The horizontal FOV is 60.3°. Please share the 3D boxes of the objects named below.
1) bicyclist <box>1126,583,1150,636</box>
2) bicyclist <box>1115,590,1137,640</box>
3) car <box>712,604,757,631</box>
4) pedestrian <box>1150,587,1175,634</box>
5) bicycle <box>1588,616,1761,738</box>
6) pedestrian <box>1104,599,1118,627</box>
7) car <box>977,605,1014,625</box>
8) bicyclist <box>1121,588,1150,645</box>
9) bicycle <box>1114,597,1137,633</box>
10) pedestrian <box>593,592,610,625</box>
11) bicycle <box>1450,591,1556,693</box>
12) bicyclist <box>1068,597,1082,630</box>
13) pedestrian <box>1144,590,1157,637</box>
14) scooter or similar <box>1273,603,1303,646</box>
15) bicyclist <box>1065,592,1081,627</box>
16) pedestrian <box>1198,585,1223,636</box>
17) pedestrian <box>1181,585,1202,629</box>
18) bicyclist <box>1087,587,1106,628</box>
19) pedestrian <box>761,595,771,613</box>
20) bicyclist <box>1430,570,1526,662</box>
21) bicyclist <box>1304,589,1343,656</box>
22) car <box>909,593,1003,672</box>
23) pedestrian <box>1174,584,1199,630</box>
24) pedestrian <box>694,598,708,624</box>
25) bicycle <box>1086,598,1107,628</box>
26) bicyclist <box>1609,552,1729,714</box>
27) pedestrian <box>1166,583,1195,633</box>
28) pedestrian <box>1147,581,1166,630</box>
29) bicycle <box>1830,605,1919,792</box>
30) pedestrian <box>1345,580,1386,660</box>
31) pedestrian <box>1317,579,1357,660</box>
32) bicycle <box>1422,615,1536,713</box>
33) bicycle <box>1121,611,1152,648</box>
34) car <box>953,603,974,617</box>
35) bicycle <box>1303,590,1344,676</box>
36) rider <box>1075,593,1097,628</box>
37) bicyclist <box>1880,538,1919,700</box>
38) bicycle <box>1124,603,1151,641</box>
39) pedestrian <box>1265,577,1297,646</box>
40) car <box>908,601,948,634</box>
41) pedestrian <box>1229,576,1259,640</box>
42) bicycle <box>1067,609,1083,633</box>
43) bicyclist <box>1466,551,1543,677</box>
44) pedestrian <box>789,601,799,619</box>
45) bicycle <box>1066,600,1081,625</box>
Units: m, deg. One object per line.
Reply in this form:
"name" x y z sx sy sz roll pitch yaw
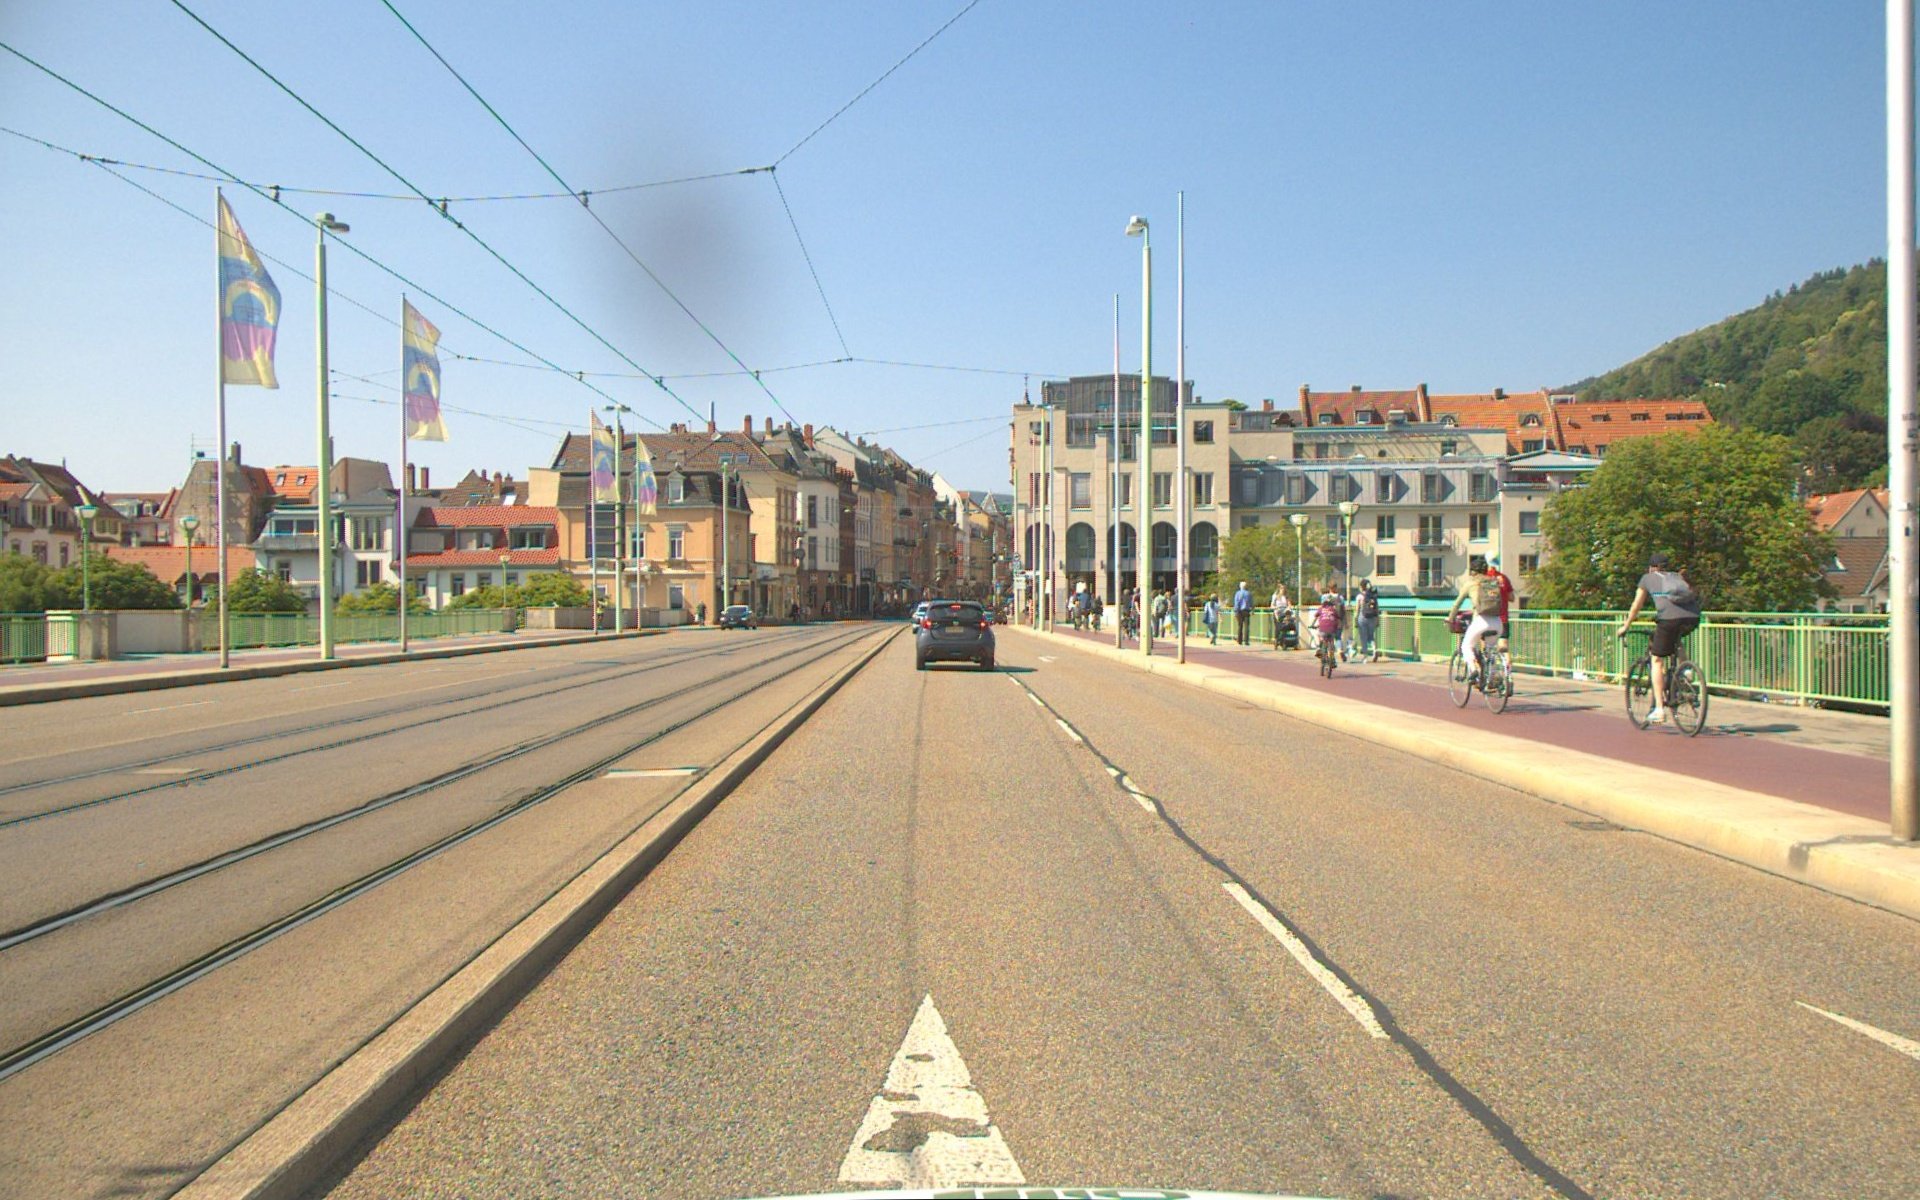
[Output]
"bicyclist" 5.823 0.304 54.074 0.643 1.705 0.868 0 0 -3
"bicyclist" 5.789 0.530 57.719 0.615 1.719 0.868 0 0 -3
"car" -13.674 1.048 100.490 1.952 1.505 4.002 0 0 3
"pedestrian" 7.447 0.365 60.878 0.817 1.719 0.869 0 0 -1
"bicycle" 6.888 0.707 16.079 0.606 1.055 2.265 0 0 -3
"pedestrian" 8.105 0.704 88.822 0.643 1.476 0.643 0 0 -7
"car" 2.909 1.209 135.479 1.766 1.494 4.001 -2 0 20
"bicyclist" 5.027 0.465 47.342 0.640 1.594 1.337 -2 0 0
"bicycle" 5.765 0.506 57.744 0.515 1.199 2.028 0 0 -2
"pedestrian" -19.425 0.462 89.570 0.747 1.818 0.663 0 0 1
"bicycle" 7.329 0.537 22.434 0.606 1.293 2.215 -1 0 -3
"bicyclist" 5.461 0.626 78.828 0.638 1.556 0.975 0 0 2
"pedestrian" 7.385 0.529 64.135 0.360 1.826 0.604 2 0 -1
"scooter or similar" 8.473 0.636 42.721 0.577 1.088 0.865 0 0 -3
"bicyclist" 5.610 0.471 82.004 0.779 1.705 0.869 0 0 2
"pedestrian" 7.476 0.300 49.386 0.601 1.491 0.848 0 0 -1
"pedestrian" 8.755 0.263 62.641 0.698 1.680 0.848 0 0 1
"bicyclist" 5.759 0.320 69.776 0.701 1.705 0.868 0 0 -3
"pedestrian" -15.784 0.300 134.596 0.747 1.422 0.663 0 0 1
"bicyclist" 6.069 0.179 19.424 0.720 1.048 1.175 0 0 -3
"bicyclist" 6.148 0.369 27.998 0.586 1.121 0.853 0 0 9
"car" -0.141 0.683 37.046 1.872 1.567 3.998 1 1 -4
"pedestrian" 8.712 0.264 63.524 0.817 1.719 0.869 0 0 -1
"pedestrian" -16.913 0.690 107.994 0.747 1.694 0.663 0 0 1
"bicycle" 5.760 0.541 69.820 0.653 1.199 2.028 0 0 -2
"bicyclist" 6.867 0.305 16.062 0.720 1.527 0.980 0 0 -3
"pedestrian" 7.907 0.289 59.318 0.911 1.792 0.937 0 0 -1
"pedestrian" 7.418 0.206 62.413 0.517 1.778 0.728 -3 0 -1
"bicycle" 6.627 0.646 10.776 0.681 1.214 2.077 -1 0 -4
"pedestrian" 8.268 0.401 33.721 0.587 1.614 0.866 0 0 -3
"pedestrian" 7.671 0.390 33.685 0.587 1.614 0.866 0 0 -3
"bicycle" 6.077 0.722 19.484 0.606 1.055 2.050 0 0 -3
"bicycle" 5.039 0.841 47.403 0.640 0.998 2.178 -2 0 0
"car" 0.370 1.006 167.795 1.838 1.433 4.002 0 0 4
"bicycle" 6.152 0.530 28.024 0.523 1.391 2.218 0 0 8
"rider" 5.614 0.454 73.864 0.871 1.531 0.840 0 0 -3
"bicyclist" 6.620 0.122 10.788 0.653 1.063 0.979 0 0 -5
"bicycle" 5.805 0.710 54.144 0.581 1.199 1.939 0 0 -2
"pedestrian" 8.448 0.299 43.596 0.629 1.787 0.866 0 0 -3
"car" -1.626 0.857 82.529 1.768 1.494 3.997 -2 0 -4
"pedestrian" 8.288 0.220 48.277 0.698 1.842 0.848 0 0 -1
"bicycle" 5.467 0.982 78.651 0.652 1.068 2.029 0 0 2
"bicyclist" 7.338 0.186 22.333 0.720 1.664 0.866 0 0 -3
"pedestrian" -13.343 0.831 133.137 0.747 1.422 0.663 0 0 1
"bicycle" 5.607 0.621 81.938 0.652 1.199 2.029 0 0 2
